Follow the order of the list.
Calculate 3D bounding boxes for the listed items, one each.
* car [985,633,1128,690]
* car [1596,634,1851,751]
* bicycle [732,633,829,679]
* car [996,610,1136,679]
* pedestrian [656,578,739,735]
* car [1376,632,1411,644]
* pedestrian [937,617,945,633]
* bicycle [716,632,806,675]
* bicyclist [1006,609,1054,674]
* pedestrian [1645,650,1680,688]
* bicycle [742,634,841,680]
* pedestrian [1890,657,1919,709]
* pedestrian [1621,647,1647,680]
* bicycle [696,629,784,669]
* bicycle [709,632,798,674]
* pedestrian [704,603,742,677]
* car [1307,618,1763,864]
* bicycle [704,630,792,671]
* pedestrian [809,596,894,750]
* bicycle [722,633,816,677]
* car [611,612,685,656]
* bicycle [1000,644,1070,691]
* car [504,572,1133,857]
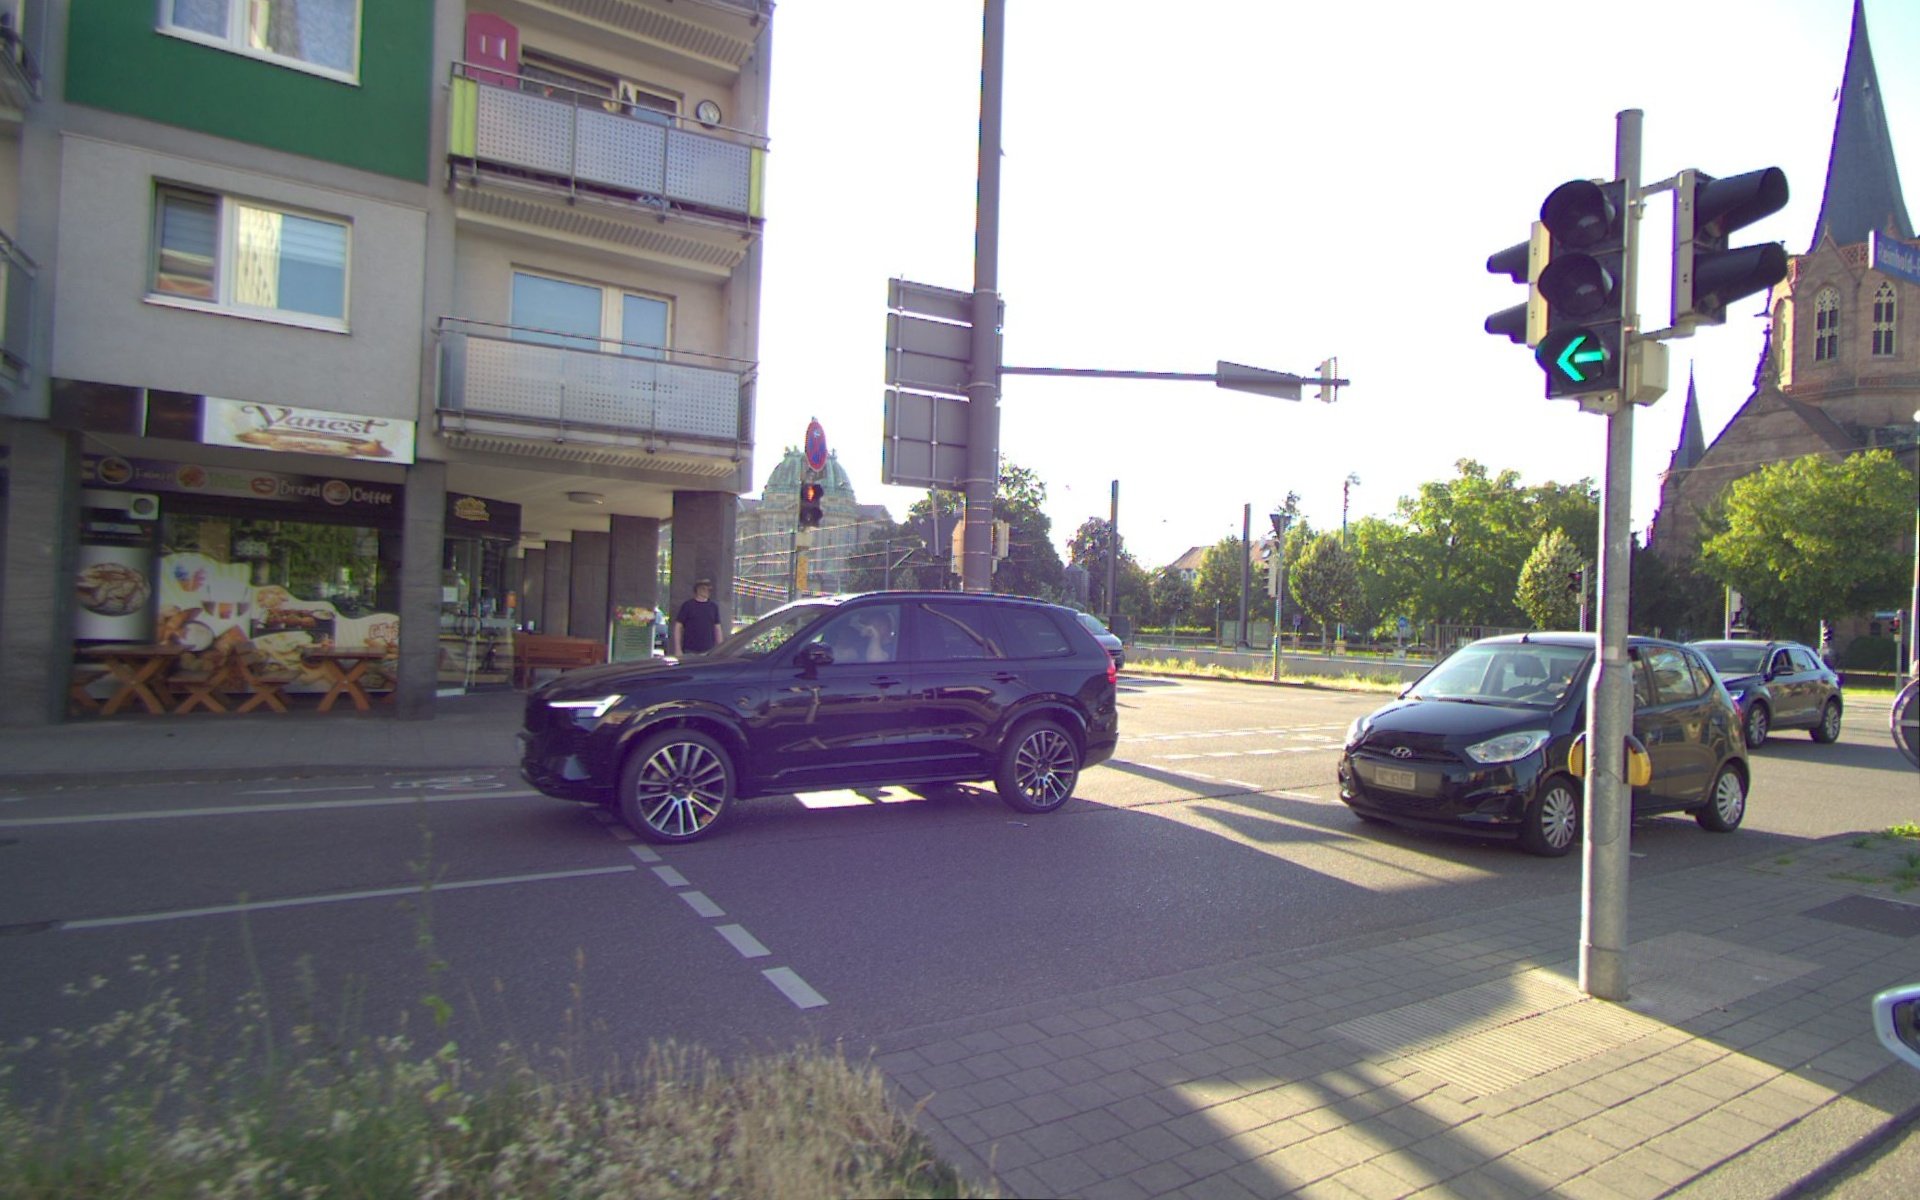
[{"bbox_3d":[2.581,1.665,27.765,1.781,1.330,4.165,3,-2,-31],"label":"car"},{"bbox_3d":[12.003,1.360,15.742,4.099,1.586,1.786,2,-1,-31],"label":"car"},{"bbox_3d":[-4.521,1.424,25.417,2.273,1.065,0.731,3,-2,-31],"label":"bicycle"},{"bbox_3d":[3.364,1.399,33.028,1.978,2.040,4.897,3,-2,-31],"label":"car"},{"bbox_3d":[-3.313,0.699,12.672,0.802,1.900,0.605,2,2,-29],"label":"pedestrian"},{"bbox_3d":[63.509,5.566,147.193,1.985,1.592,4.411,3,-2,-40],"label":"car"},{"bbox_3d":[-2.155,2.847,115.236,0.677,1.847,0.532,3,-1,-26],"label":"pedestrian"},{"bbox_3d":[-5.274,1.437,26.690,2.273,1.065,0.558,3,-2,-31],"label":"bicycle"},{"bbox_3d":[1.767,1.049,25.371,0.951,1.619,0.732,2,-2,-30],"label":"bicyclist"},{"bbox_3d":[34.153,3.357,48.845,0.829,1.719,1.015,3,0,-9],"label":"pedestrian"},{"bbox_3d":[-4.126,1.407,24.722,2.273,1.065,0.731,3,-2,-31],"label":"bicycle"},{"bbox_3d":[33.508,2.930,35.321,0.802,1.762,0.961,3,-1,-28],"label":"pedestrian"},{"bbox_3d":[36.991,3.461,55.159,0.827,1.719,1.017,3,0,14],"label":"pedestrian"},{"bbox_3d":[-6.214,1.390,28.403,2.273,1.065,0.731,3,-2,-31],"label":"bicycle"},{"bbox_3d":[-5.564,1.445,27.201,2.273,1.065,0.558,3,-2,-31],"label":"bicycle"},{"bbox_3d":[-5.725,0.971,24.281,0.677,1.746,0.605,2,1,-30],"label":"pedestrian"},{"bbox_3d":[4.571,0.981,7.940,3.434,1.565,1.572,2,-2,-28],"label":"car"},{"bbox_3d":[-5.835,1.401,27.713,2.273,1.065,0.642,3,-2,-31],"label":"bicycle"},{"bbox_3d":[-1.346,0.881,12.380,0.802,1.811,0.606,2,2,-26],"label":"pedestrian"},{"bbox_3d":[-4.953,1.429,26.102,2.273,1.065,0.731,3,-2,-31],"label":"bicycle"},{"bbox_3d":[-11.818,1.260,37.908,1.677,1.528,3.965,3,-2,-32],"label":"car"},{"bbox_3d":[1.867,1.668,25.164,0.940,1.112,1.769,2,-2,-29],"label":"bicycle"},{"bbox_3d":[-0.995,0.802,8.149,4.732,1.733,1.807,2,-2,-31],"label":"car"}]
